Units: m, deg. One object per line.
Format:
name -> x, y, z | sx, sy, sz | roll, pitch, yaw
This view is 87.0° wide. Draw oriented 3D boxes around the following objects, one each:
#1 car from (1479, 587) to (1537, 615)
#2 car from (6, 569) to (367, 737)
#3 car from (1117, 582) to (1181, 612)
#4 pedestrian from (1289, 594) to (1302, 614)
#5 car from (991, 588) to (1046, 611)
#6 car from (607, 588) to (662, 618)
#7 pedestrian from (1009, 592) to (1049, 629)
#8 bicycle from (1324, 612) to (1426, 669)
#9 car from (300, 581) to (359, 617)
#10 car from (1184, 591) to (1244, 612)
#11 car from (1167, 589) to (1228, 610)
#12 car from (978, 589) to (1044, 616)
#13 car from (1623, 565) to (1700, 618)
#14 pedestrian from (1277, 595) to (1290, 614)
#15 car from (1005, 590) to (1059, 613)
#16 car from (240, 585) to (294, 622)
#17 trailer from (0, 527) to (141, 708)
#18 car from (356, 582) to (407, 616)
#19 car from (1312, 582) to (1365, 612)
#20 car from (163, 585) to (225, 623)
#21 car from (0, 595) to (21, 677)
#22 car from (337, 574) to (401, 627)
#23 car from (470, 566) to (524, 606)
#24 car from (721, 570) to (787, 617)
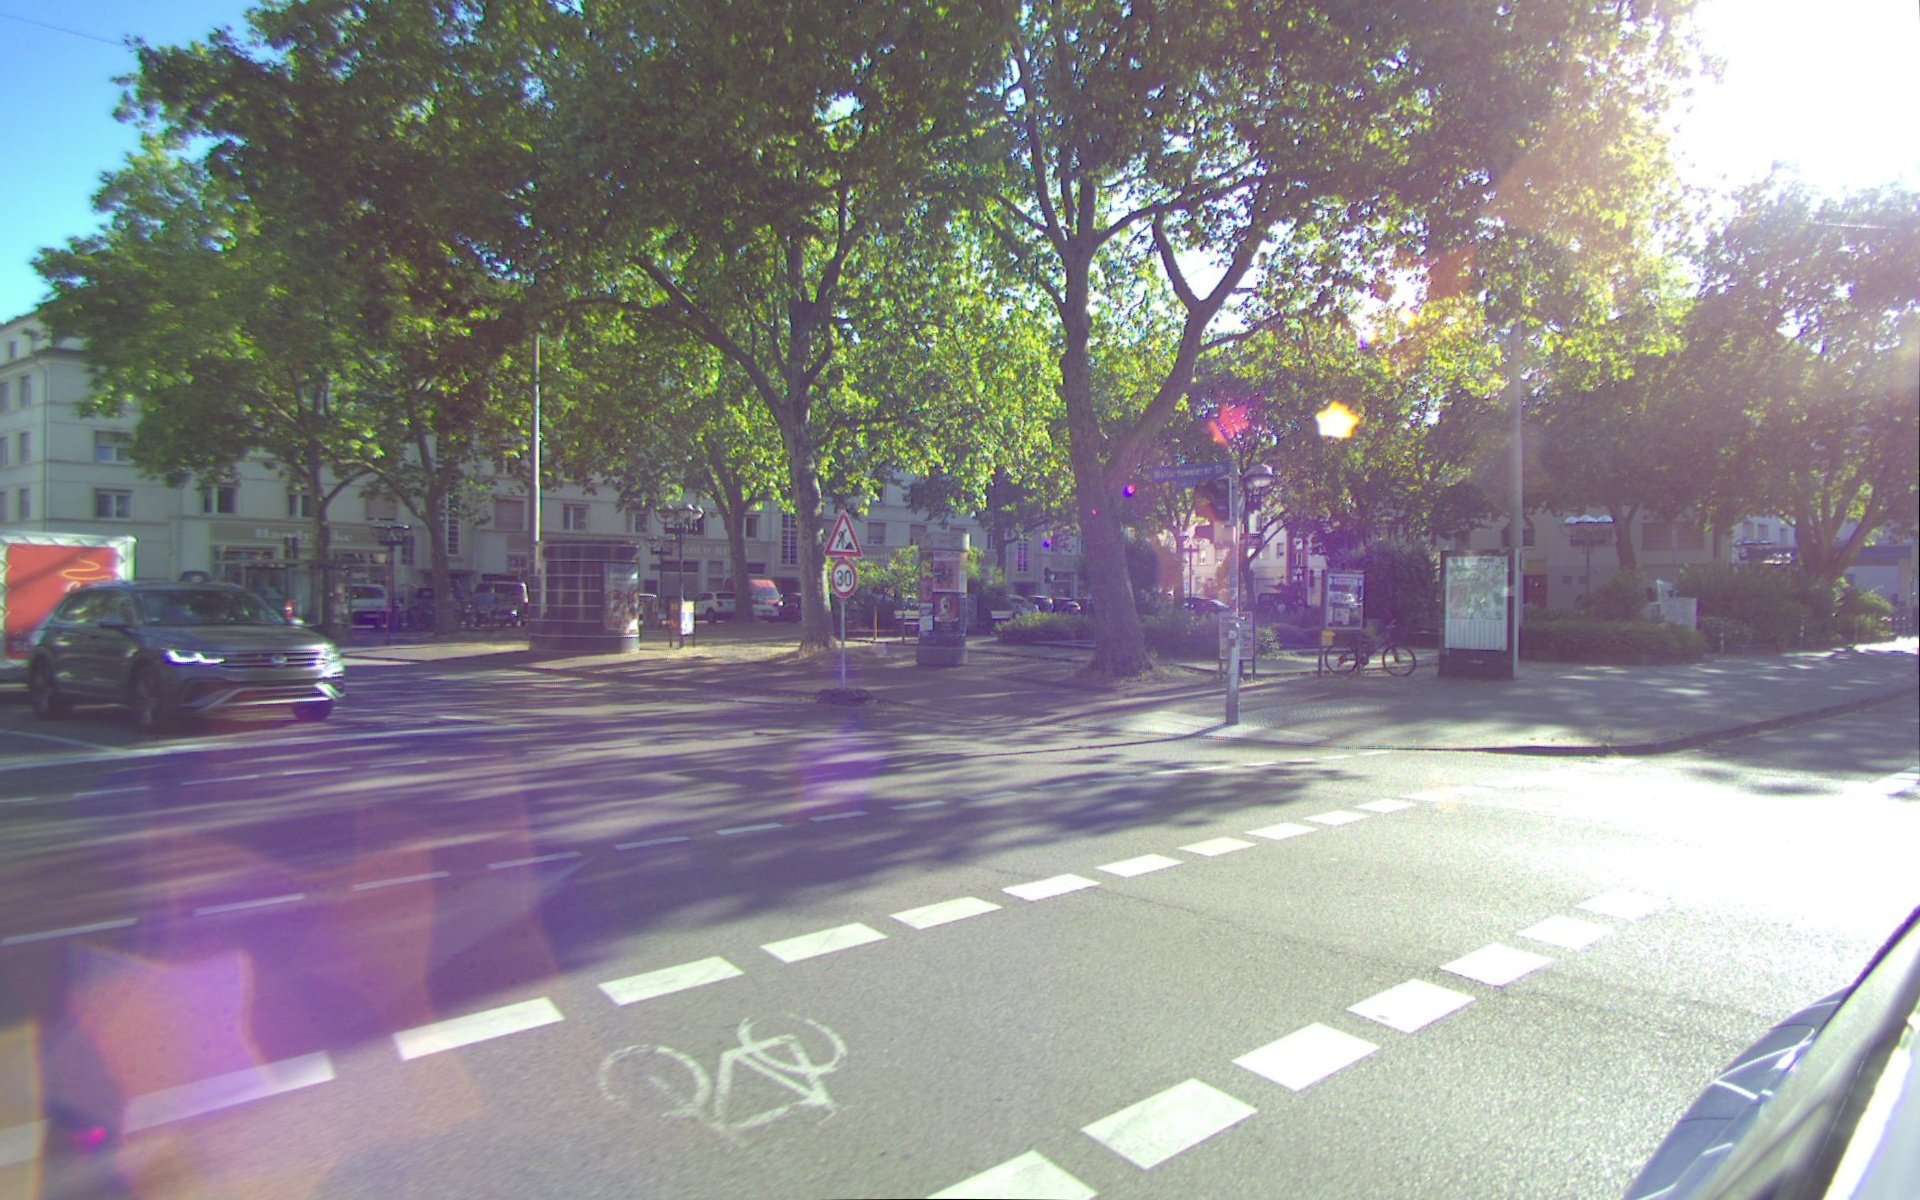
car -> 33.589, 0.084, 61.981 | 4.106, 1.680, 1.805 | 0, 0, -40
car -> -9.248, 0.570, 12.006 | 4.543, 1.661, 1.914 | -2, -1, 31
car -> 12.858, -0.185, 69.073 | 2.009, 1.941, 3.997 | -1, -1, -36
pedestrian -> 22.011, 0.259, 66.432 | 0.627, 1.242, 0.533 | -2, -1, 36
car -> 4.342, -0.048, 75.678 | 1.746, 1.498, 4.353 | -1, 3, -36
car -> -18.791, 0.131, 58.312 | 1.746, 1.498, 4.353 | -1, 3, -36
pedestrian -> 2.347, 0.356, 34.516 | 0.776, 1.256, 1.140 | 0, -1, -37
bicycle -> 8.093, 0.781, 19.779 | 1.806, 1.067, 0.530 | -1, -1, 27
car -> -30.576, -0.093, 49.018 | 1.701, 1.498, 4.346 | -1, 3, -42
car -> 18.439, 0.136, 73.536 | 1.745, 1.426, 3.998 | -1, -1, -36
car -> 16.883, -0.009, 72.115 | 1.745, 1.426, 3.998 | -1, -1, -36
car -> 3.025, 0.144, 60.819 | 1.886, 1.541, 3.998 | -1, -1, -36
car -> 38.114, -0.447, 54.963 | 4.627, 2.777, 1.999 | -1, -1, -37
pedestrian -> 21.504, 0.277, 67.258 | 0.628, 1.242, 0.532 | -2, -1, 40
car -> 5.486, 0.118, 77.568 | 1.746, 1.539, 4.353 | -1, 3, -36
car -> -32.272, 0.122, 47.221 | 1.787, 1.498, 4.358 | 0, 3, -31
trailer -> -14.342, 0.220, 15.131 | 4.479, 2.403, 1.893 | 0, 0, 31
car -> -28.451, -0.090, 49.708 | 1.729, 1.498, 4.353 | -1, 3, -36
car -> 26.339, -0.175, 70.354 | 4.106, 2.053, 1.709 | 0, -1, -40
car -> -34.640, 0.132, 45.851 | 1.787, 1.498, 4.358 | 0, 3, -31
car -> -18.426, 0.657, 17.644 | 4.402, 1.378, 1.914 | -2, -1, 31
car -> -23.439, -0.039, 40.077 | 1.729, 1.893, 4.353 | 0, 3, -36
car -> -24.329, -0.767, 53.058 | 1.729, 1.893, 4.353 | 0, 3, -36
car -> -12.855, -0.465, 62.914 | 2.127, 2.699, 5.068 | 0, 3, -36
